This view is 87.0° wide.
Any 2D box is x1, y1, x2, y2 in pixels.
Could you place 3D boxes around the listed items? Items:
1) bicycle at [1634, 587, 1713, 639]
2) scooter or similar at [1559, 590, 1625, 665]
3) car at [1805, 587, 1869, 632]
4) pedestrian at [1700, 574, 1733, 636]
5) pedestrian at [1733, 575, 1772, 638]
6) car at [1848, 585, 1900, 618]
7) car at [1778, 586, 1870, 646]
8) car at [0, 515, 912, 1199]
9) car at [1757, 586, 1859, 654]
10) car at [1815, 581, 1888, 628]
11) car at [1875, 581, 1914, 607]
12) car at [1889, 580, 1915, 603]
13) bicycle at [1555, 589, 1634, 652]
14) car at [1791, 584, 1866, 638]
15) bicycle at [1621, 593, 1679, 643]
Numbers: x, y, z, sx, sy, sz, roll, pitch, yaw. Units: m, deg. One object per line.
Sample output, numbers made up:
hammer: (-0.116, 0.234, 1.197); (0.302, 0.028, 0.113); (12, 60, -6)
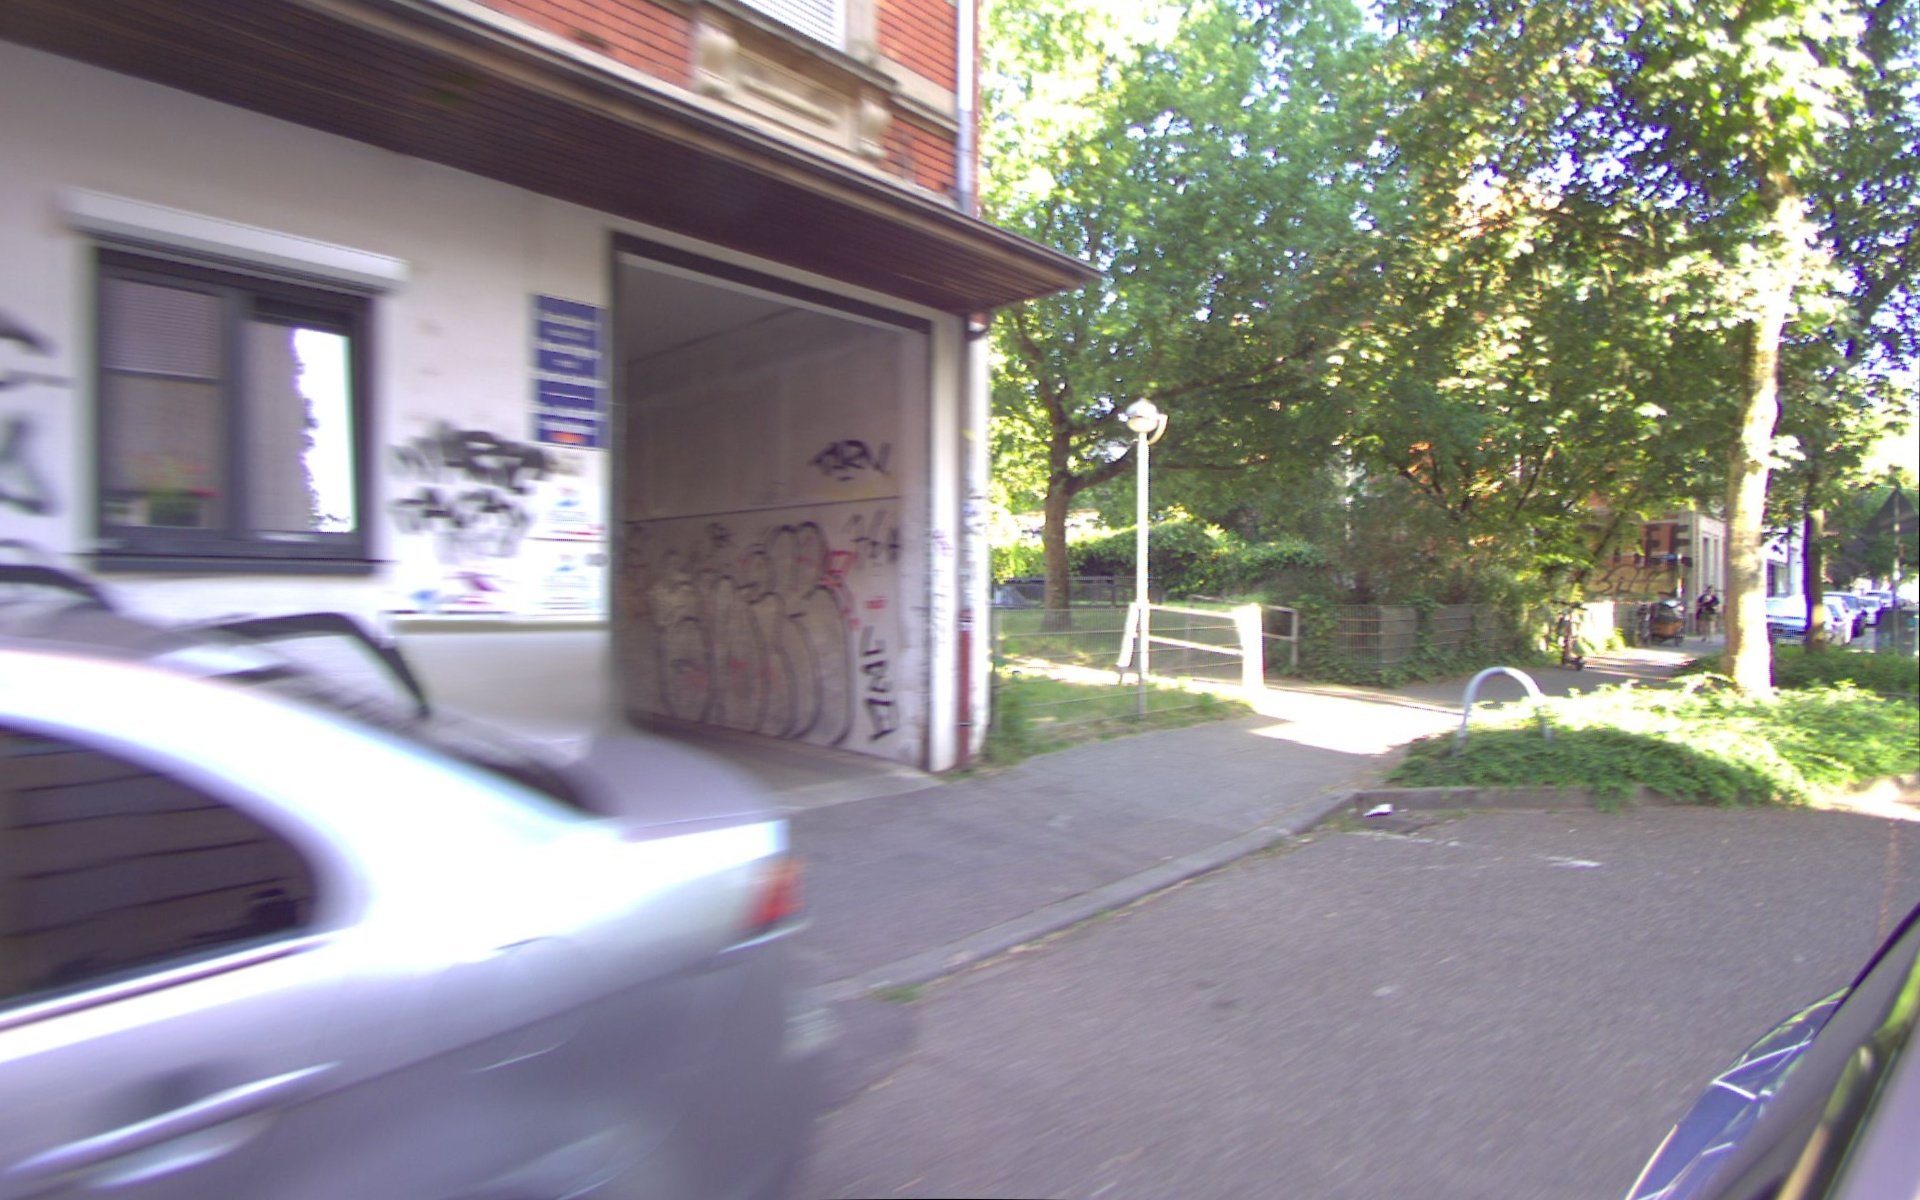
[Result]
bicycle: (19.471, 0.319, 27.598); (2.287, 1.318, 1.292); (0, 3, -43)
scooter or similar: (11.541, 0.479, 18.530); (0.538, 1.277, 1.467); (1, 1, 13)
car: (30.932, 0.297, 35.683); (1.593, 1.468, 3.942); (2, 2, 42)
pedestrian: (22.018, 0.138, 29.451); (0.597, 1.729, 0.695); (5, 3, 44)
pedestrian: (22.762, 0.169, 29.058); (0.710, 1.729, 0.740); (5, 3, 44)
car: (46.488, 0.048, 51.469); (1.765, 1.535, 4.038); (4, 4, 44)
car: (24.507, 0.397, 28.654); (1.660, 1.512, 4.284); (3, 2, 44)
car: (-2.202, 0.701, 0.999); (1.721, 1.582, 4.328); (0, 0, 44)
car: (21.207, 0.424, 25.250); (1.721, 1.512, 4.345); (2, 2, 43)
car: (34.337, 0.152, 38.938); (4.257, 1.687, 1.767); (0, 1, -44)
car: (74.773, -0.506, 80.956); (4.404, 2.005, 1.865); (-1, 4, -42)
car: (92.027, -0.853, 98.846); (1.765, 2.042, 4.196); (4, 4, 44)
bicycle: (13.785, 0.413, 21.960); (2.647, 1.283, 0.847); (0, 1, -44)
car: (27.973, 0.304, 32.575); (1.594, 1.605, 3.704); (2, 2, 44)
bicycle: (17.598, 0.442, 25.793); (1.949, 1.216, 0.847); (0, 1, -44)
